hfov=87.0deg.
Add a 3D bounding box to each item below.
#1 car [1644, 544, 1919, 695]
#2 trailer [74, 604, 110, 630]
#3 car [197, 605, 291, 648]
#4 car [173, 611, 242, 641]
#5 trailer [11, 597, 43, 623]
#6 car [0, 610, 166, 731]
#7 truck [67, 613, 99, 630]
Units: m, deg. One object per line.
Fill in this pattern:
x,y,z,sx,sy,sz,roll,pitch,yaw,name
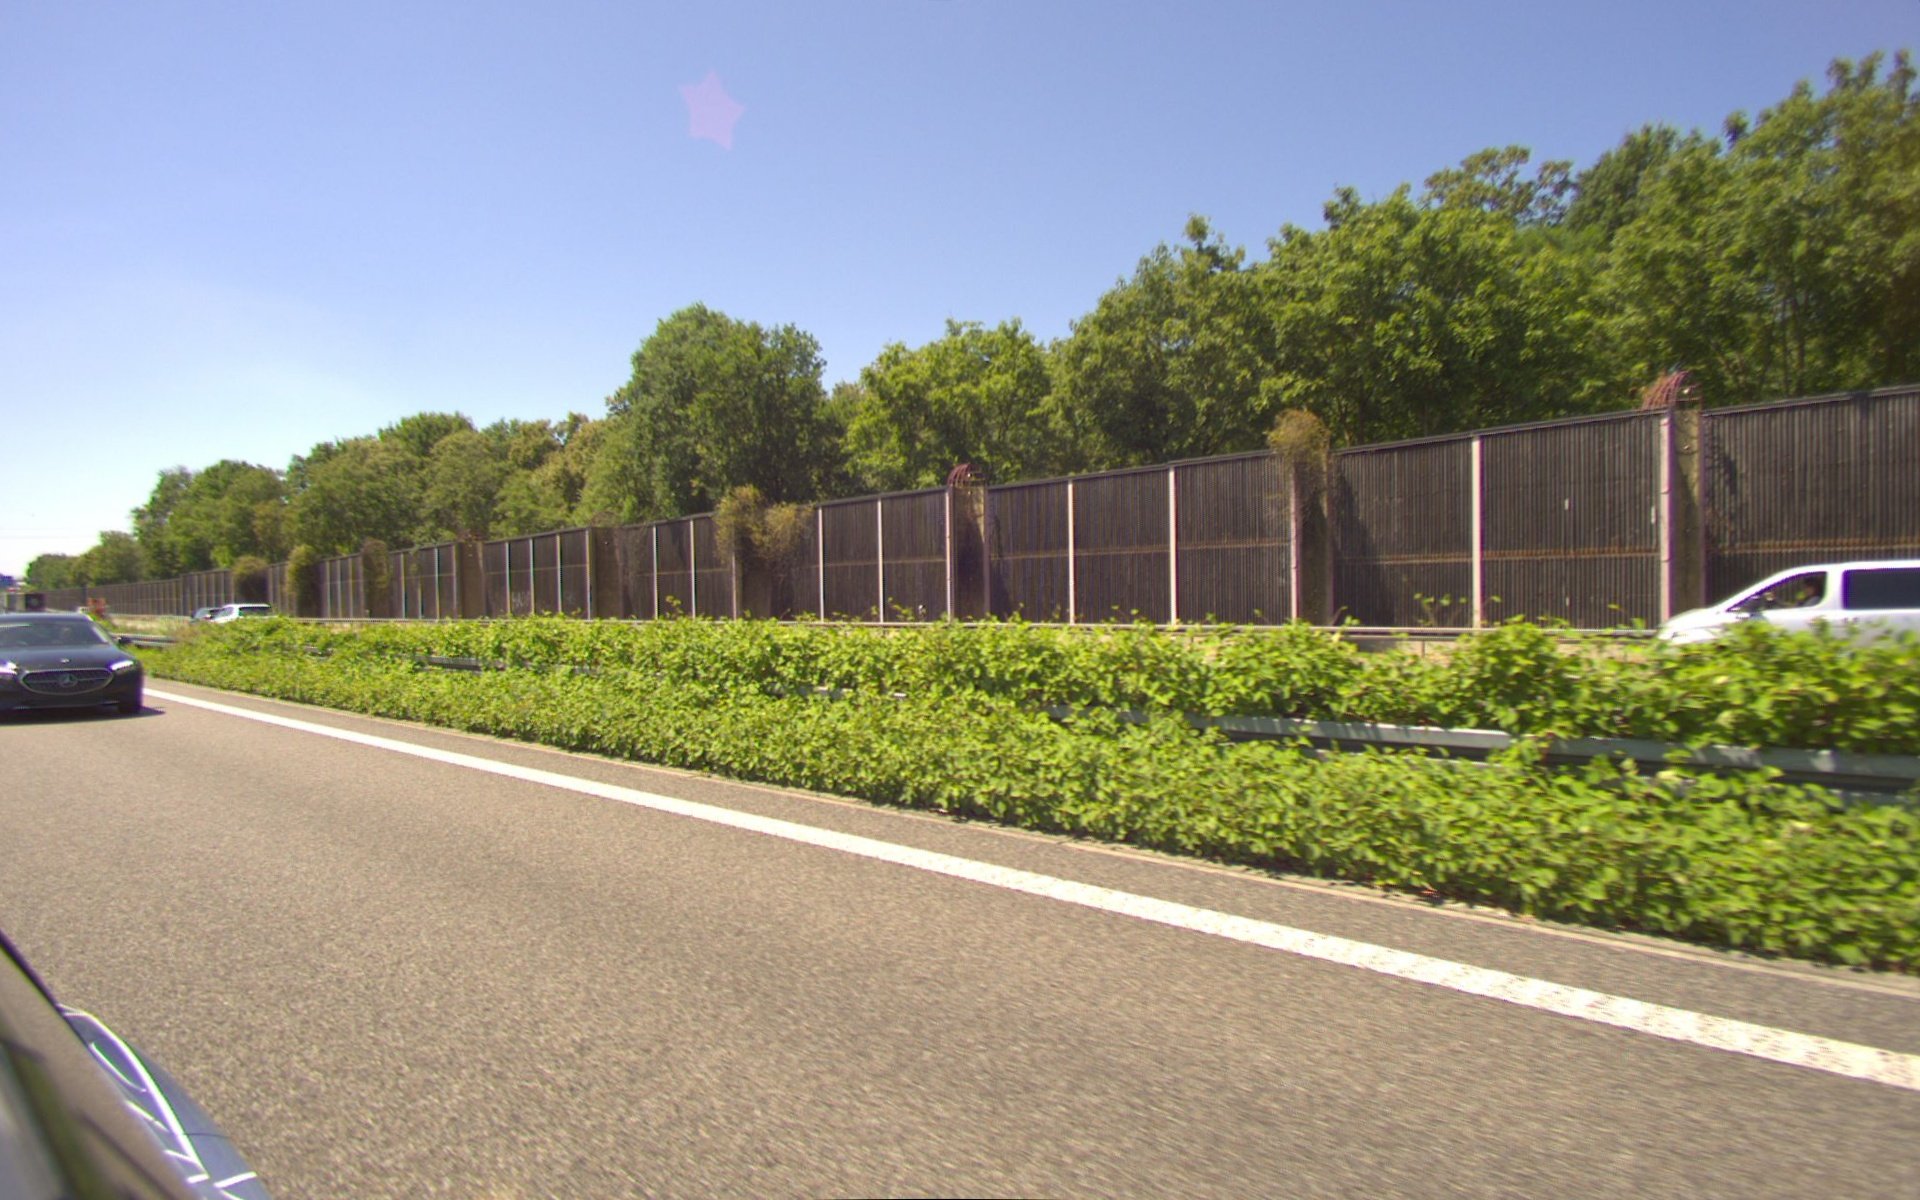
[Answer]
13.194,0.260,14.540,5.382,2.029,1.973,-1,0,41,car
-95.858,1.851,111.772,6.508,2.797,2.218,-1,-1,42,trailer
-29.715,1.079,41.932,5.041,1.660,1.973,-1,-1,40,car
-42.740,1.463,57.442,4.685,1.660,1.975,-1,-1,38,car
-153.754,1.689,166.694,13.332,4.123,2.867,-1,0,43,trailer
-14.012,0.946,15.389,5.816,1.518,1.924,-1,0,40,car
-100.555,2.429,116.010,6.210,1.830,2.078,-1,0,42,truck
